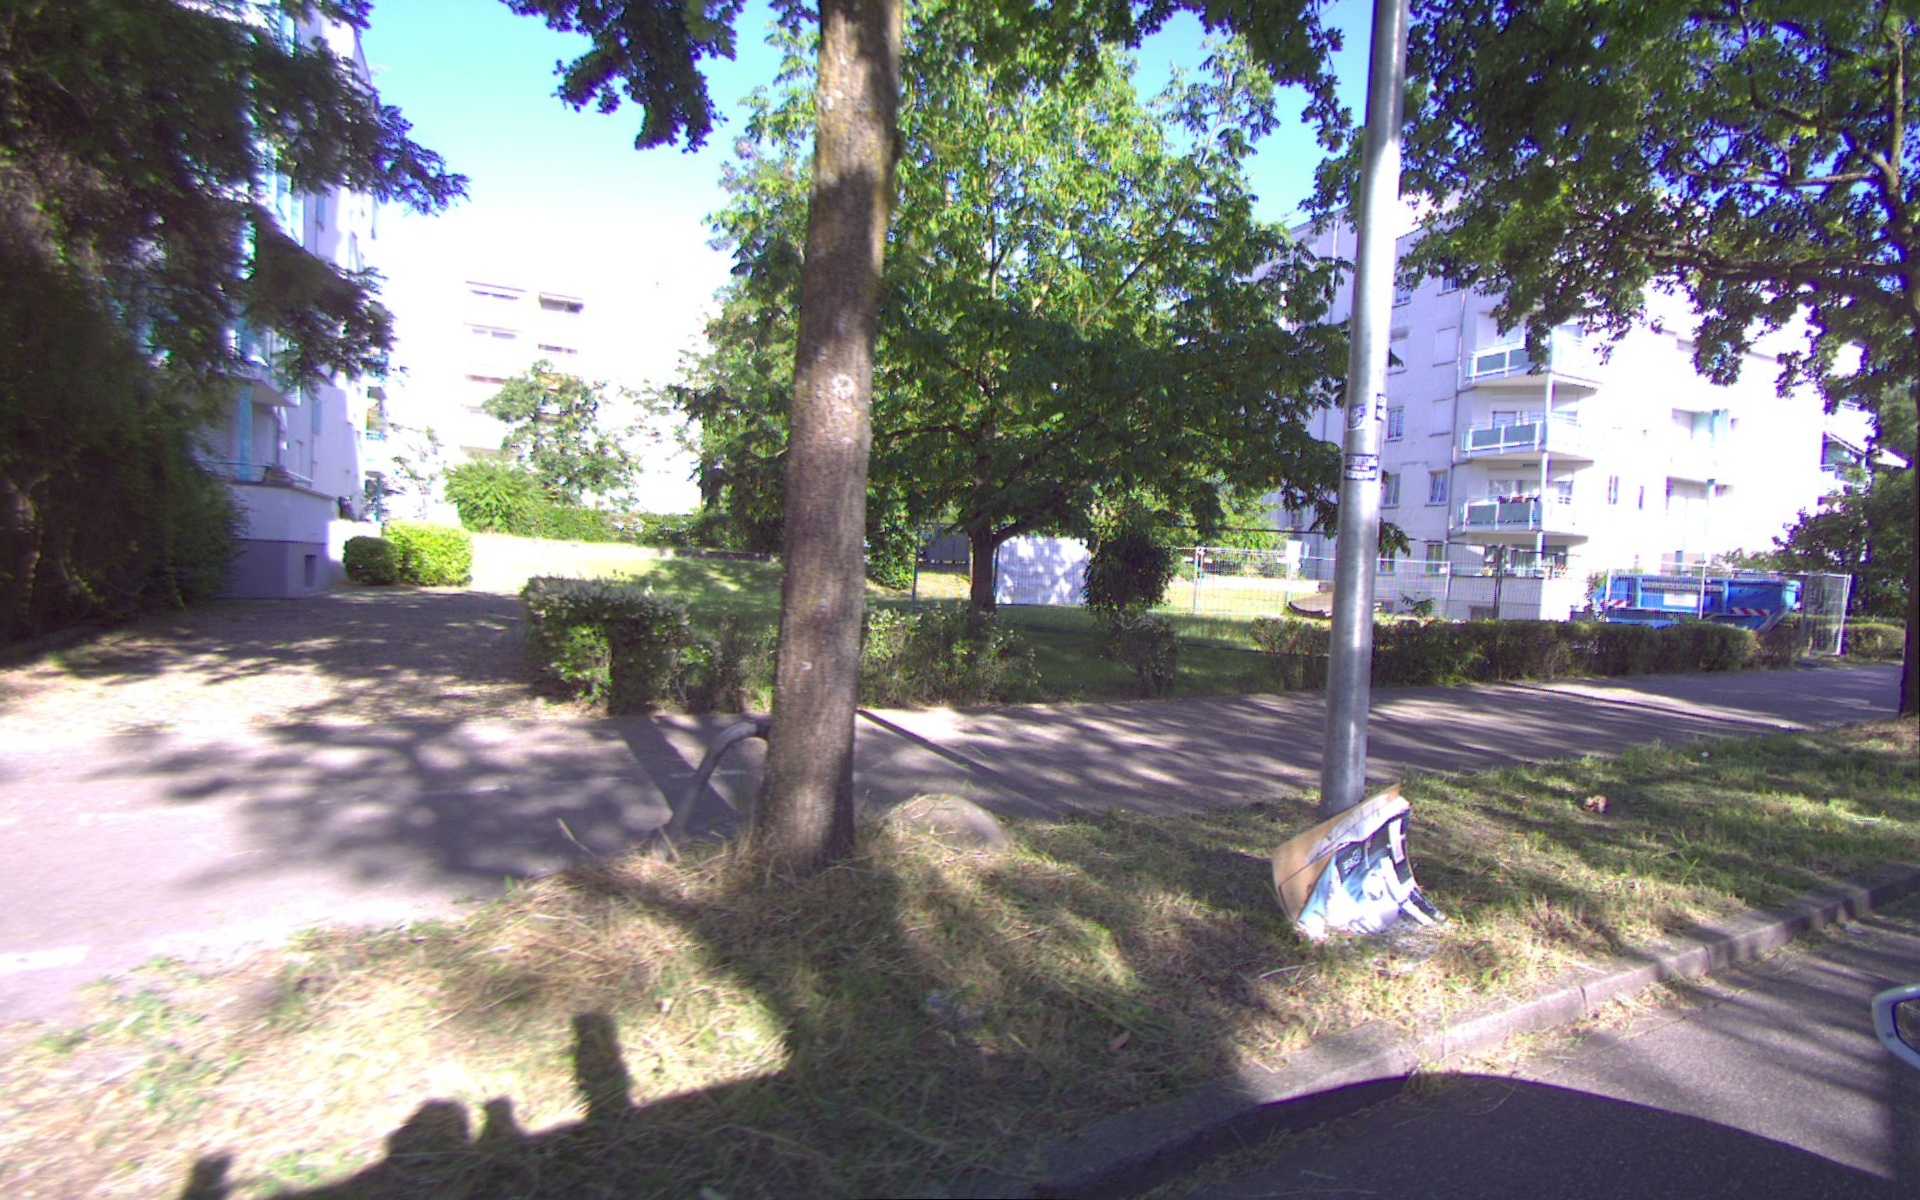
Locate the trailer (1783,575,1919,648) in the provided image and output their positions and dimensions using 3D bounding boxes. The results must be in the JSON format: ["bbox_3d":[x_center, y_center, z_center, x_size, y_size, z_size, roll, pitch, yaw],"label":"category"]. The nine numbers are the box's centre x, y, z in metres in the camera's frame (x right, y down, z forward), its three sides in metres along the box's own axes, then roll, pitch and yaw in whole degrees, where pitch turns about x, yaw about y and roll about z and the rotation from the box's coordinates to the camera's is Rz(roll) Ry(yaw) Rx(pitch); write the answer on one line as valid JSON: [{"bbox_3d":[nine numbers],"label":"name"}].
[{"bbox_3d":[28.791,0.376,32.356,4.290,2.149,1.856,2,4,-27],"label":"trailer"}]
